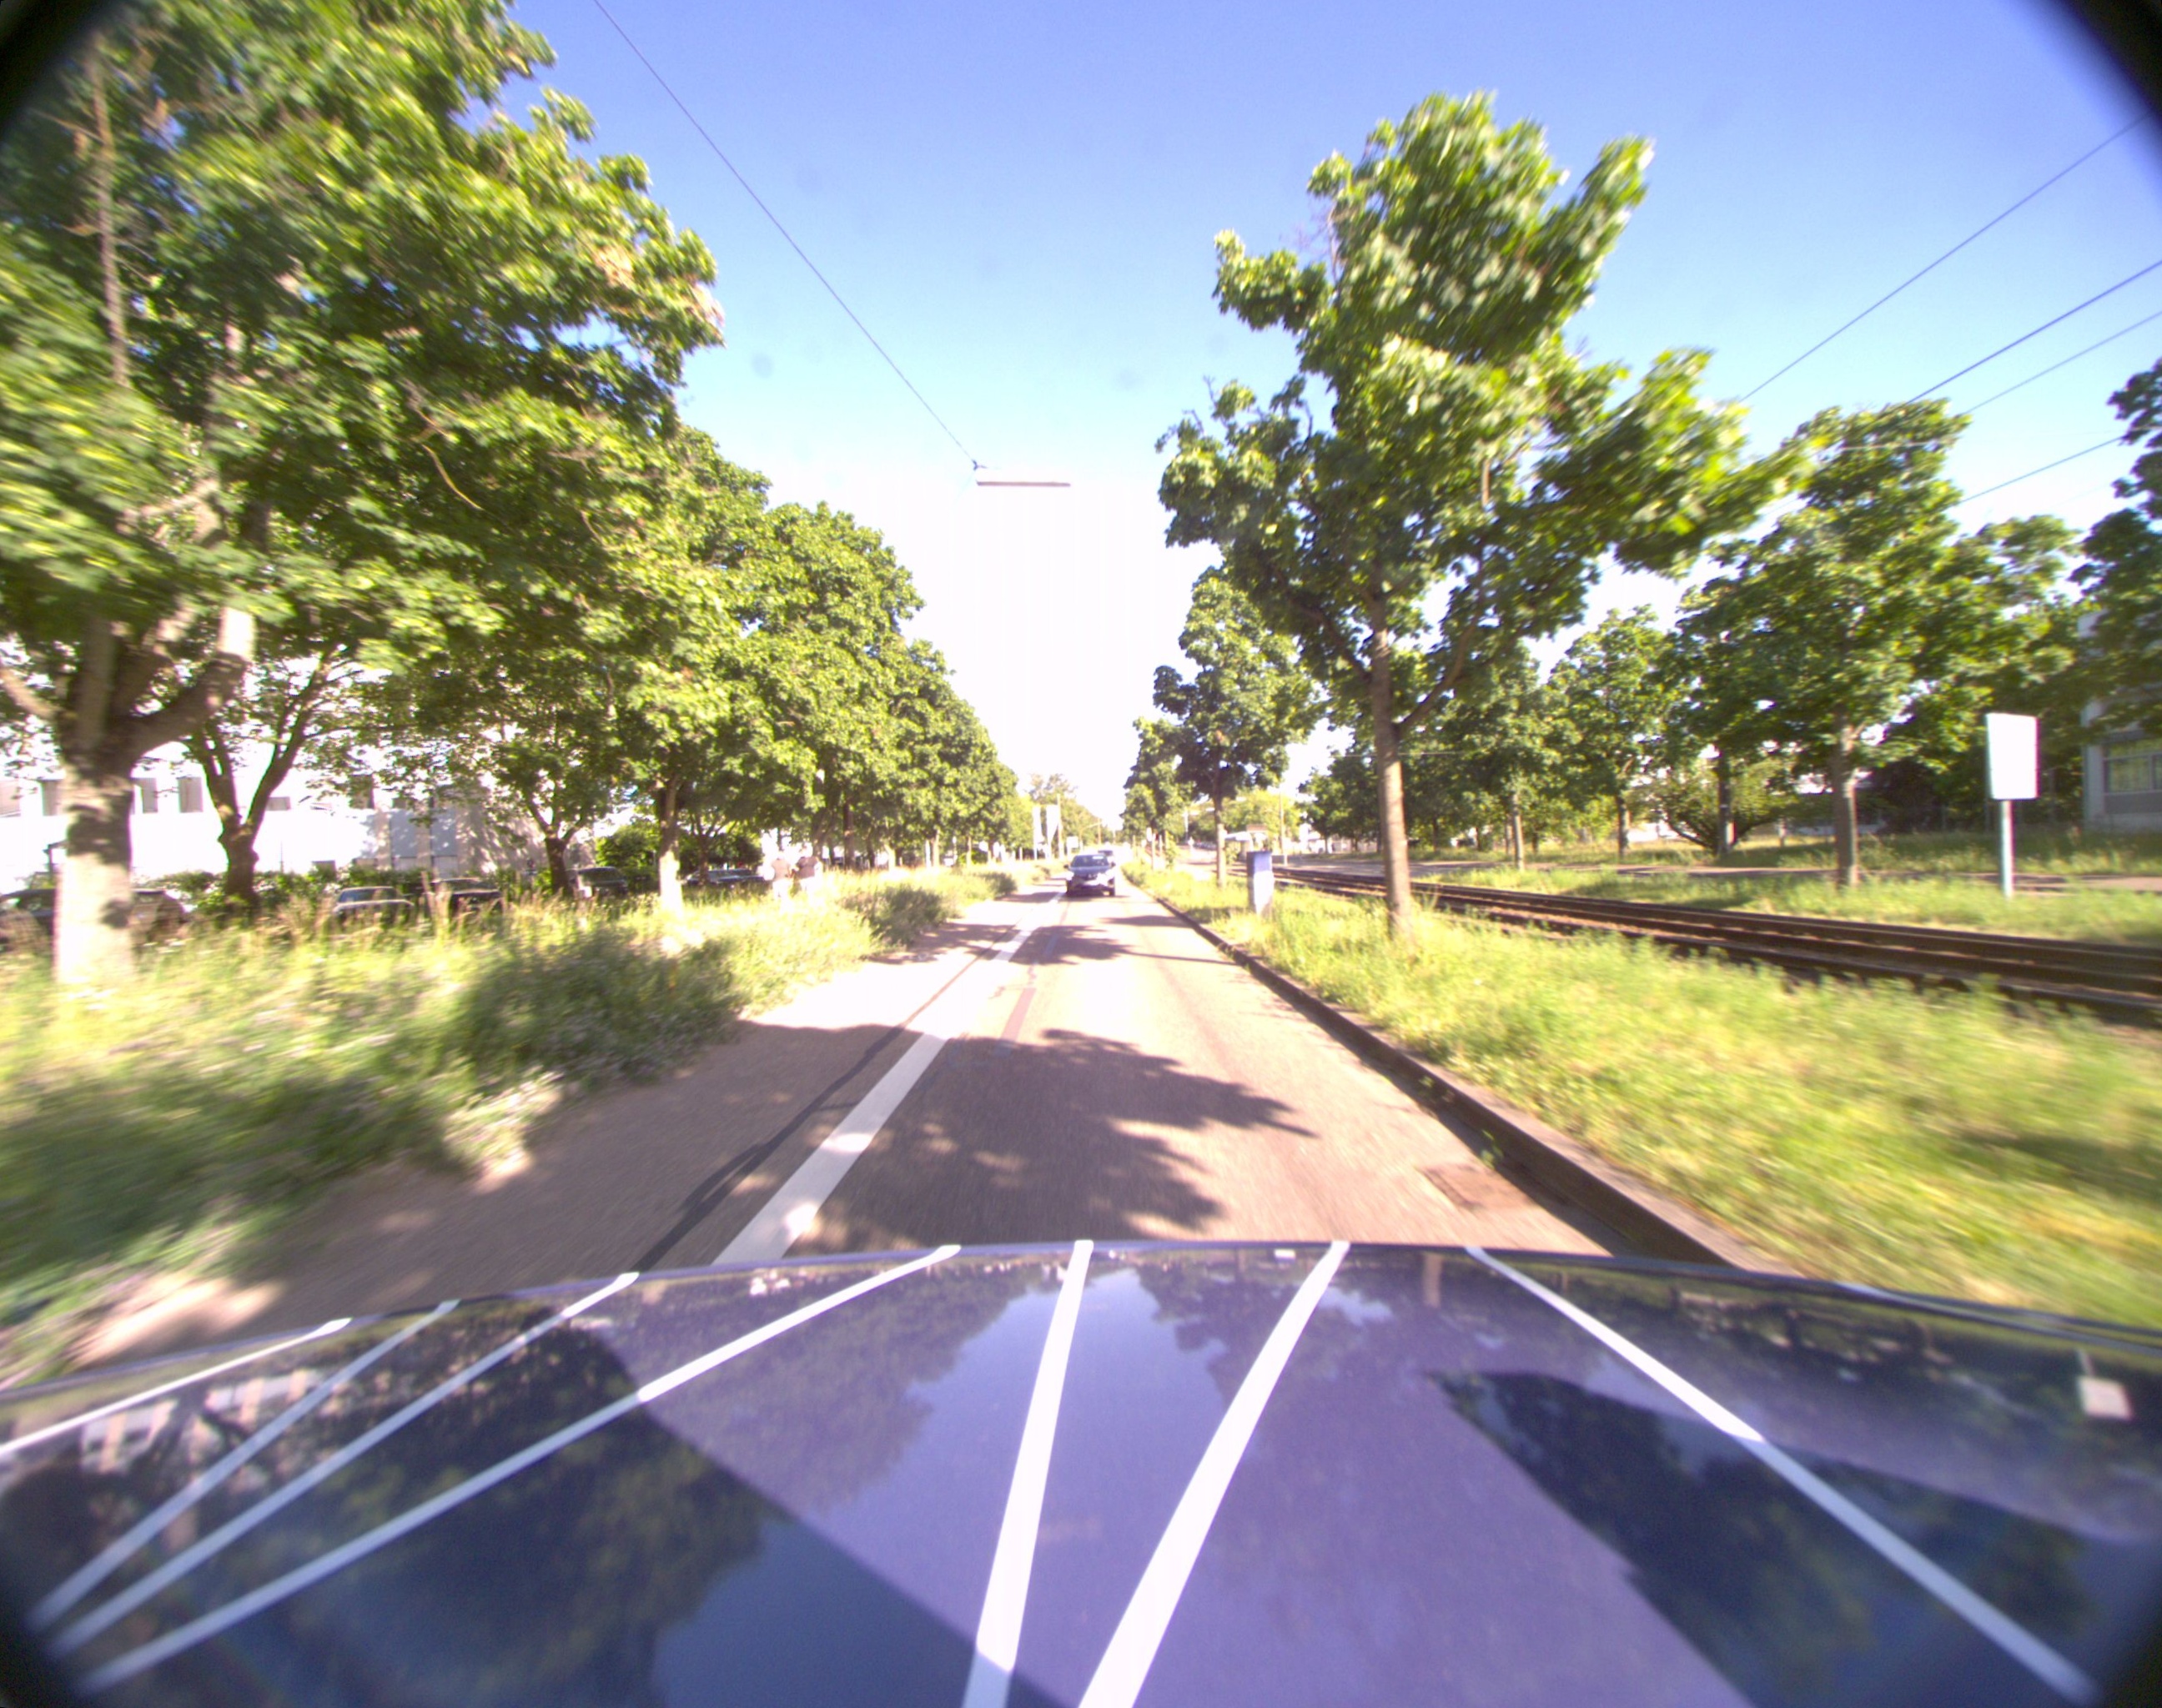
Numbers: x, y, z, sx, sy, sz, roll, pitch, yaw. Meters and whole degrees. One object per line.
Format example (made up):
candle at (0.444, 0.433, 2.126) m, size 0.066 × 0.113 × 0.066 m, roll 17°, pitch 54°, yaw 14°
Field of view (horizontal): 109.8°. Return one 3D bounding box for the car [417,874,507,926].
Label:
car at (-22.141, 1.617, 27.142) m, size 3.976 × 1.629 × 1.727 m, roll -2°, pitch 1°, yaw 40°

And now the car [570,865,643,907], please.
car at (-22.132, 1.460, 35.366) m, size 1.922 × 1.741 × 5.442 m, roll -3°, pitch 1°, yaw -42°

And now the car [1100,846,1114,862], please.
car at (3.064, -0.022, 89.449) m, size 1.555 × 1.765 × 3.456 m, roll -2°, pitch 1°, yaw 1°

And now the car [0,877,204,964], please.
car at (-22.532, 1.429, 16.528) m, size 4.349 × 1.690 × 1.764 m, roll -1°, pitch 1°, yaw -9°

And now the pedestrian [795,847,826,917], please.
pedestrian at (-7.594, 0.772, 21.298) m, size 0.711 × 1.907 × 0.815 m, roll -3°, pitch 1°, yaw -21°

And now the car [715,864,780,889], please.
car at (-22.030, 1.495, 50.141) m, size 4.537 × 1.440 × 1.851 m, roll -2°, pitch 1°, yaw 37°

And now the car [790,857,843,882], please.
car at (-21.613, 1.305, 61.935) m, size 2.084 × 1.865 × 5.172 m, roll -3°, pitch 1°, yaw -43°

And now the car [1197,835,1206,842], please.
car at (31.281, -4.010, 196.886) m, size 1.701 × 1.575 × 3.456 m, roll -2°, pitch 0°, yaw 1°

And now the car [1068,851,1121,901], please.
car at (0.480, 0.744, 28.225) m, size 1.750 × 1.585 × 4.246 m, roll -2°, pitch 1°, yaw 1°

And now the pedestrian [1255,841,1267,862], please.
pedestrian at (15.356, -0.184, 64.719) m, size 0.786 × 1.741 × 0.781 m, roll -3°, pitch 1°, yaw 1°

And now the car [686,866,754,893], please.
car at (-22.287, 1.576, 46.854) m, size 4.537 × 1.507 × 1.851 m, roll -2°, pitch 1°, yaw 37°

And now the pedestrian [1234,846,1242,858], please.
pedestrian at (16.349, -0.180, 79.346) m, size 0.650 × 1.242 × 0.681 m, roll 0°, pitch 1°, yaw -7°

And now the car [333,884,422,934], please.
car at (-22.029, 1.666, 23.745) m, size 3.976 × 1.333 × 1.712 m, roll -2°, pitch 1°, yaw 43°

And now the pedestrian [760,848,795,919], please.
pedestrian at (-8.424, 0.803, 21.151) m, size 0.710 × 1.919 × 0.815 m, roll -3°, pitch 1°, yaw -15°

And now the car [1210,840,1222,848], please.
car at (28.139, -2.057, 158.299) m, size 1.771 × 1.575 × 3.456 m, roll -2°, pitch 0°, yaw 1°

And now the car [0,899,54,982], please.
car at (-22.734, 1.727, 14.138) m, size 4.244 × 1.527 × 1.765 m, roll -1°, pitch 0°, yaw -9°

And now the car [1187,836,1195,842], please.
car at (31.375, -4.283, 217.407) m, size 1.701 × 1.575 × 3.456 m, roll -2°, pitch 0°, yaw 1°

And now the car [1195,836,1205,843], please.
car at (28.764, -3.453, 183.571) m, size 1.701 × 1.575 × 3.456 m, roll -2°, pitch 0°, yaw 1°
